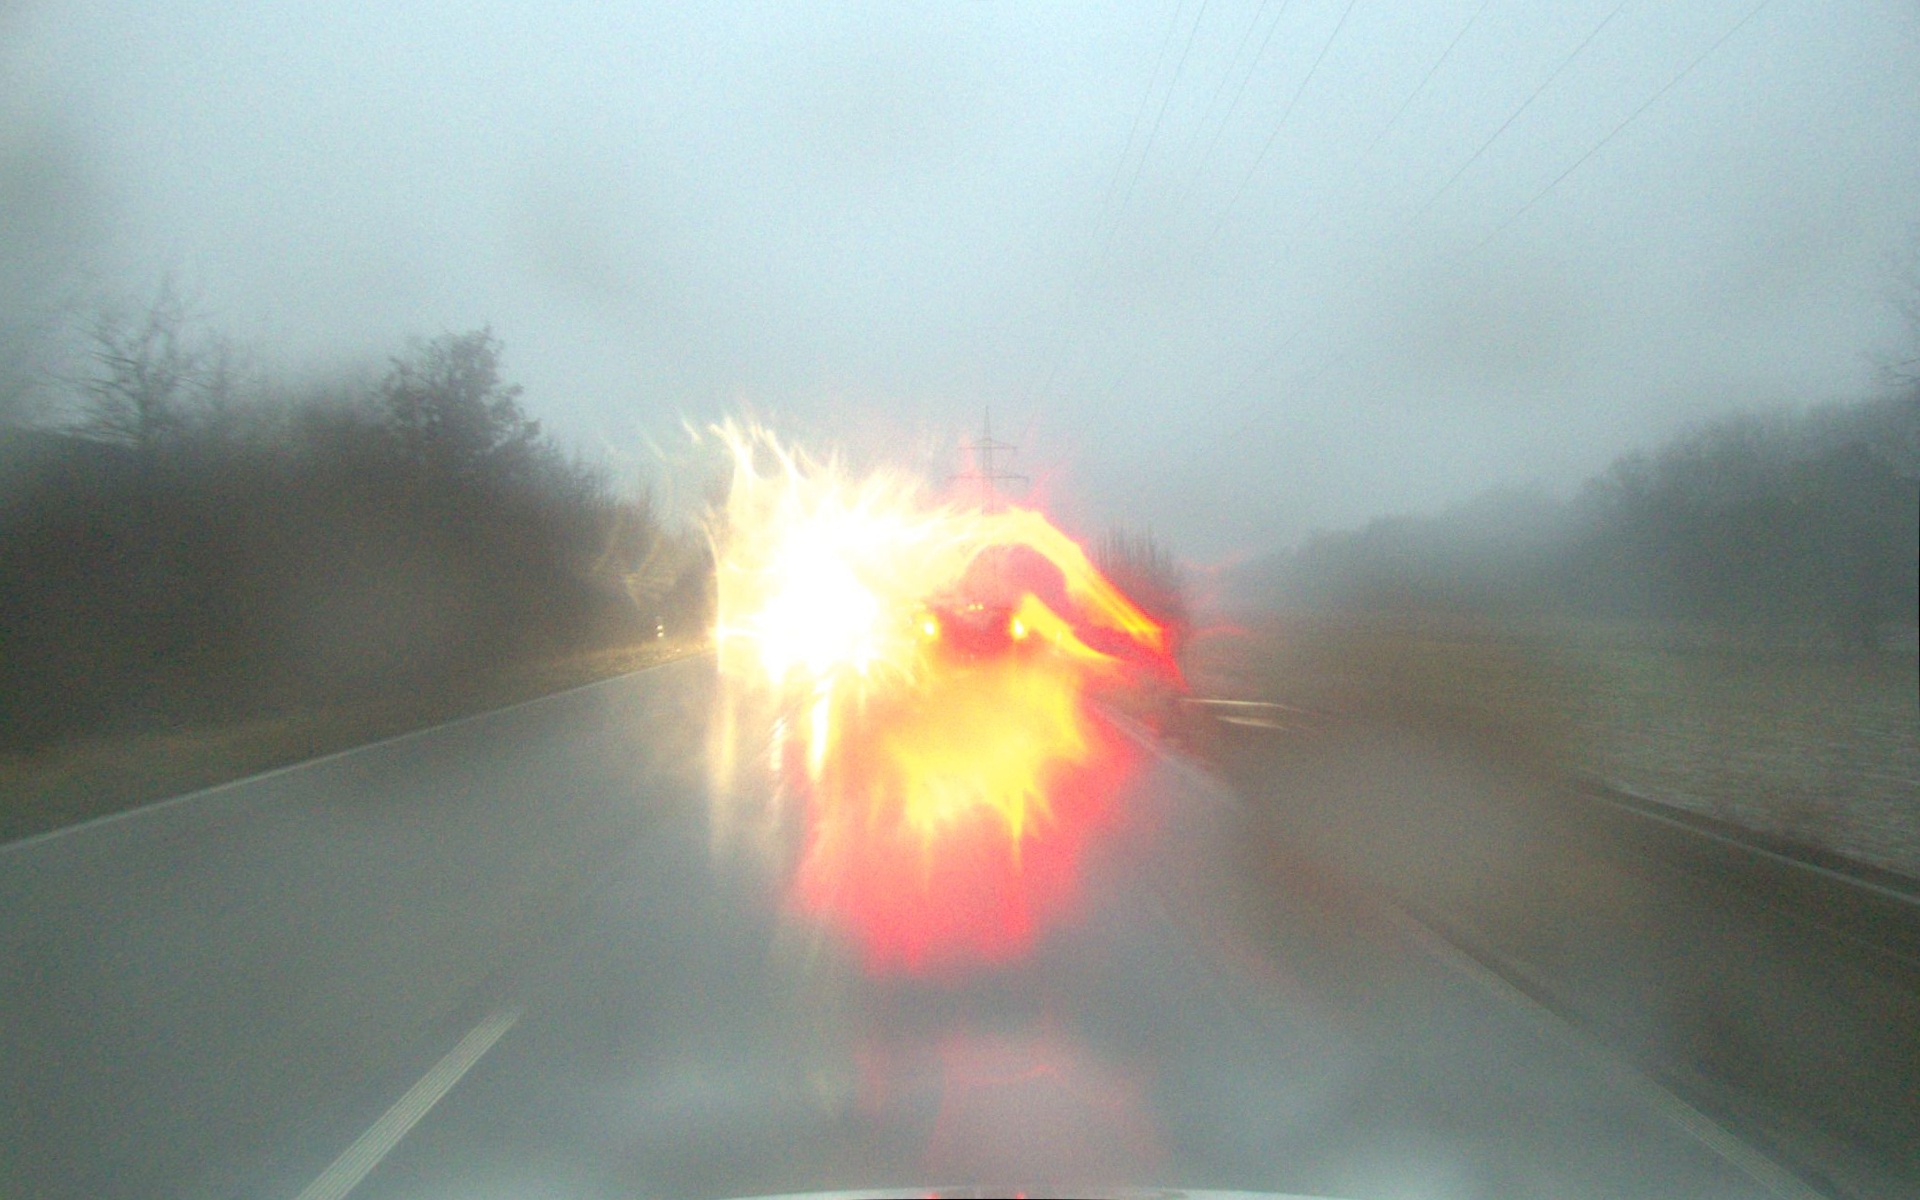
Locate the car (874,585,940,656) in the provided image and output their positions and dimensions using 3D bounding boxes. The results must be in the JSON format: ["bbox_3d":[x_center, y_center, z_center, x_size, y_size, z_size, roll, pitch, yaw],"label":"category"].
[{"bbox_3d":[-1.656,0.601,50.511,1.816,2.049,3.996,1,0,-5],"label":"car"}]

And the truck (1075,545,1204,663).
[{"bbox_3d":[4.927,0.114,46.751,2.483,3.030,7.854,1,0,-2],"label":"truck"}]

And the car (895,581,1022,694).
[{"bbox_3d":[-0.082,0.486,22.622,1.471,1.423,3.196,1,0,-5],"label":"car"}]

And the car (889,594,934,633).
[{"bbox_3d":[-2.091,0.552,70.835,1.734,1.619,4.160,1,0,-4],"label":"car"}]
